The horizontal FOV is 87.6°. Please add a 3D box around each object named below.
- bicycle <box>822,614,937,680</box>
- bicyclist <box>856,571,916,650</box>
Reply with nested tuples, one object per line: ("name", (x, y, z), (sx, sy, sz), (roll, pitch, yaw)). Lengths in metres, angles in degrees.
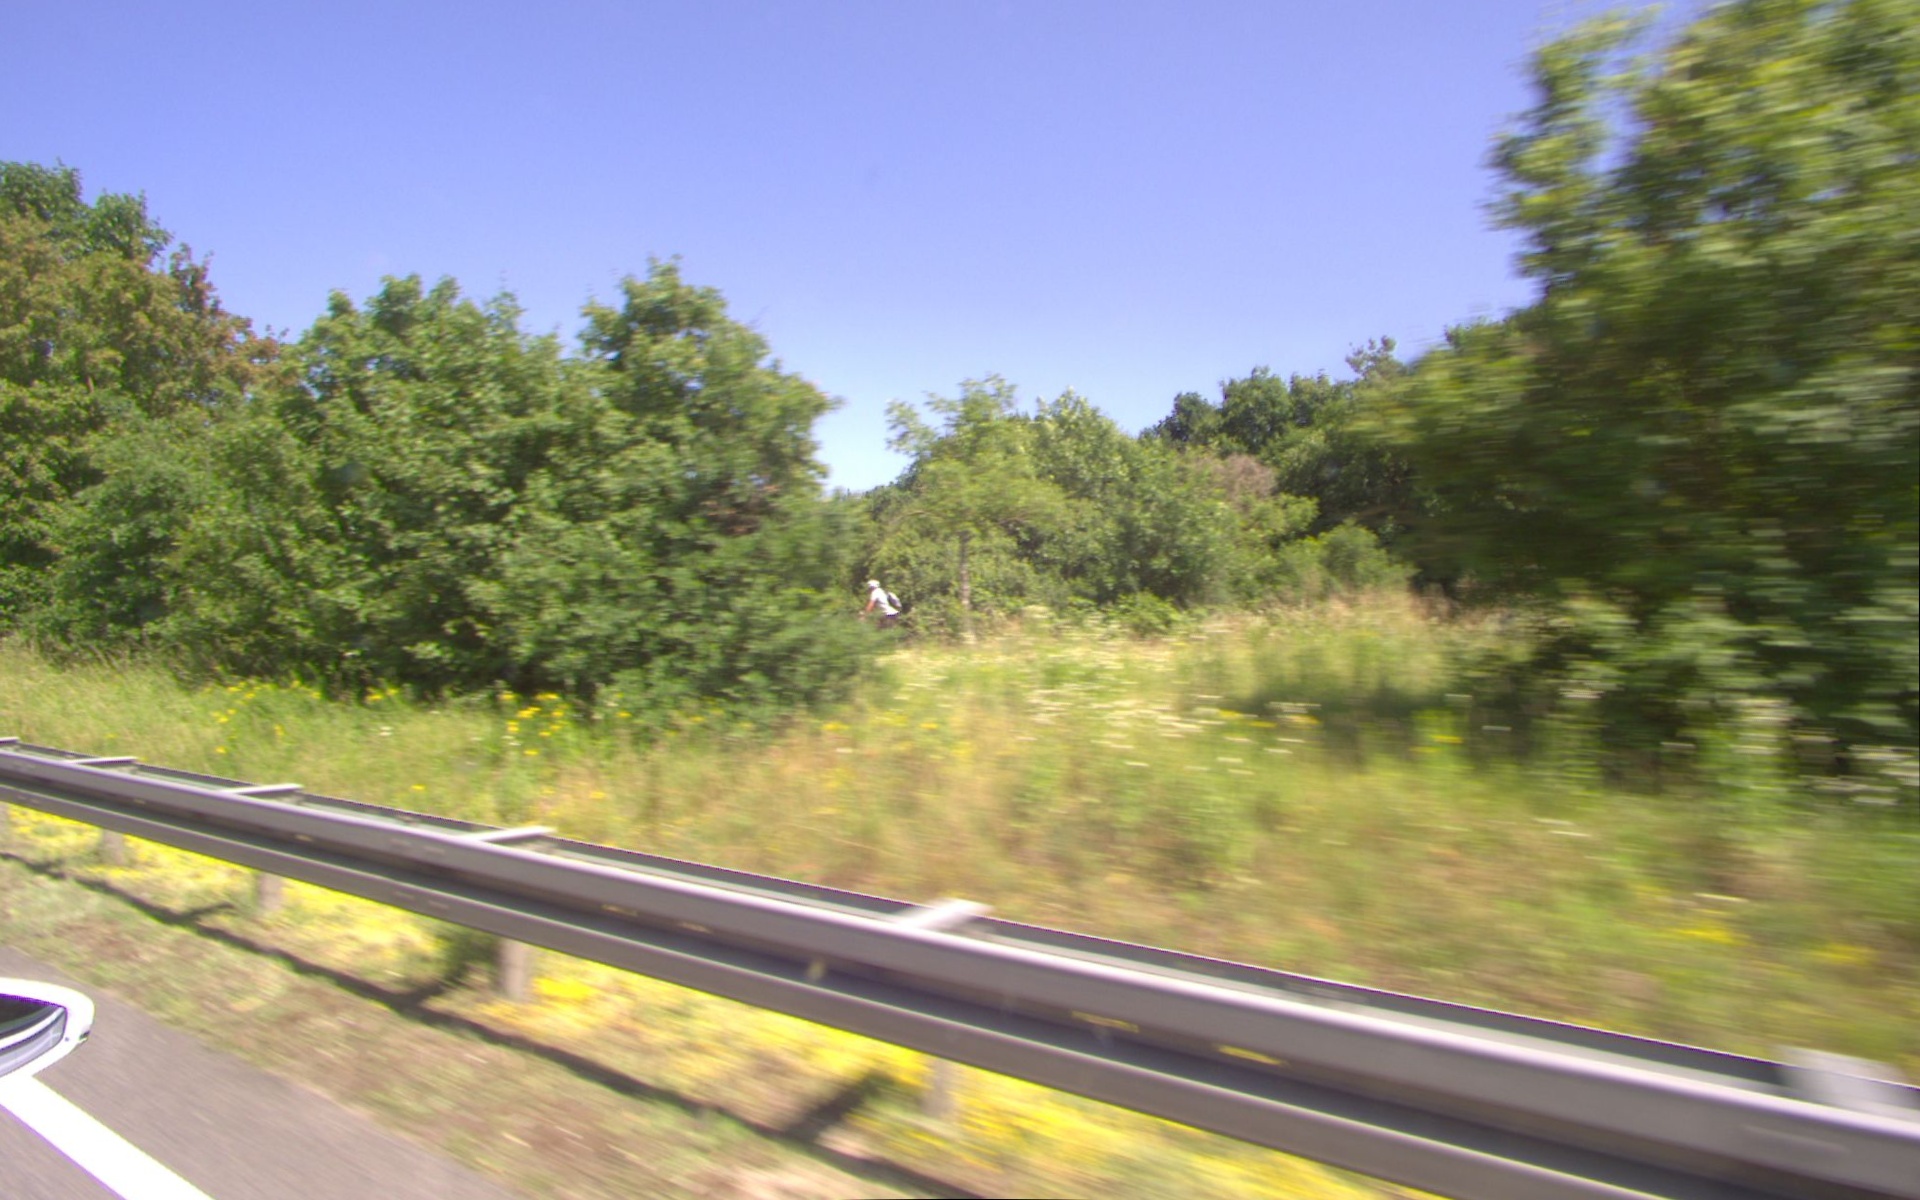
("bicycle", (-1.719, 0.985, 21.551), (2.323, 1.358, 0.835), (0, 0, 14))
("bicyclist", (-1.581, 0.227, 21.532), (1.091, 1.651, 0.829), (0, 0, 12))
